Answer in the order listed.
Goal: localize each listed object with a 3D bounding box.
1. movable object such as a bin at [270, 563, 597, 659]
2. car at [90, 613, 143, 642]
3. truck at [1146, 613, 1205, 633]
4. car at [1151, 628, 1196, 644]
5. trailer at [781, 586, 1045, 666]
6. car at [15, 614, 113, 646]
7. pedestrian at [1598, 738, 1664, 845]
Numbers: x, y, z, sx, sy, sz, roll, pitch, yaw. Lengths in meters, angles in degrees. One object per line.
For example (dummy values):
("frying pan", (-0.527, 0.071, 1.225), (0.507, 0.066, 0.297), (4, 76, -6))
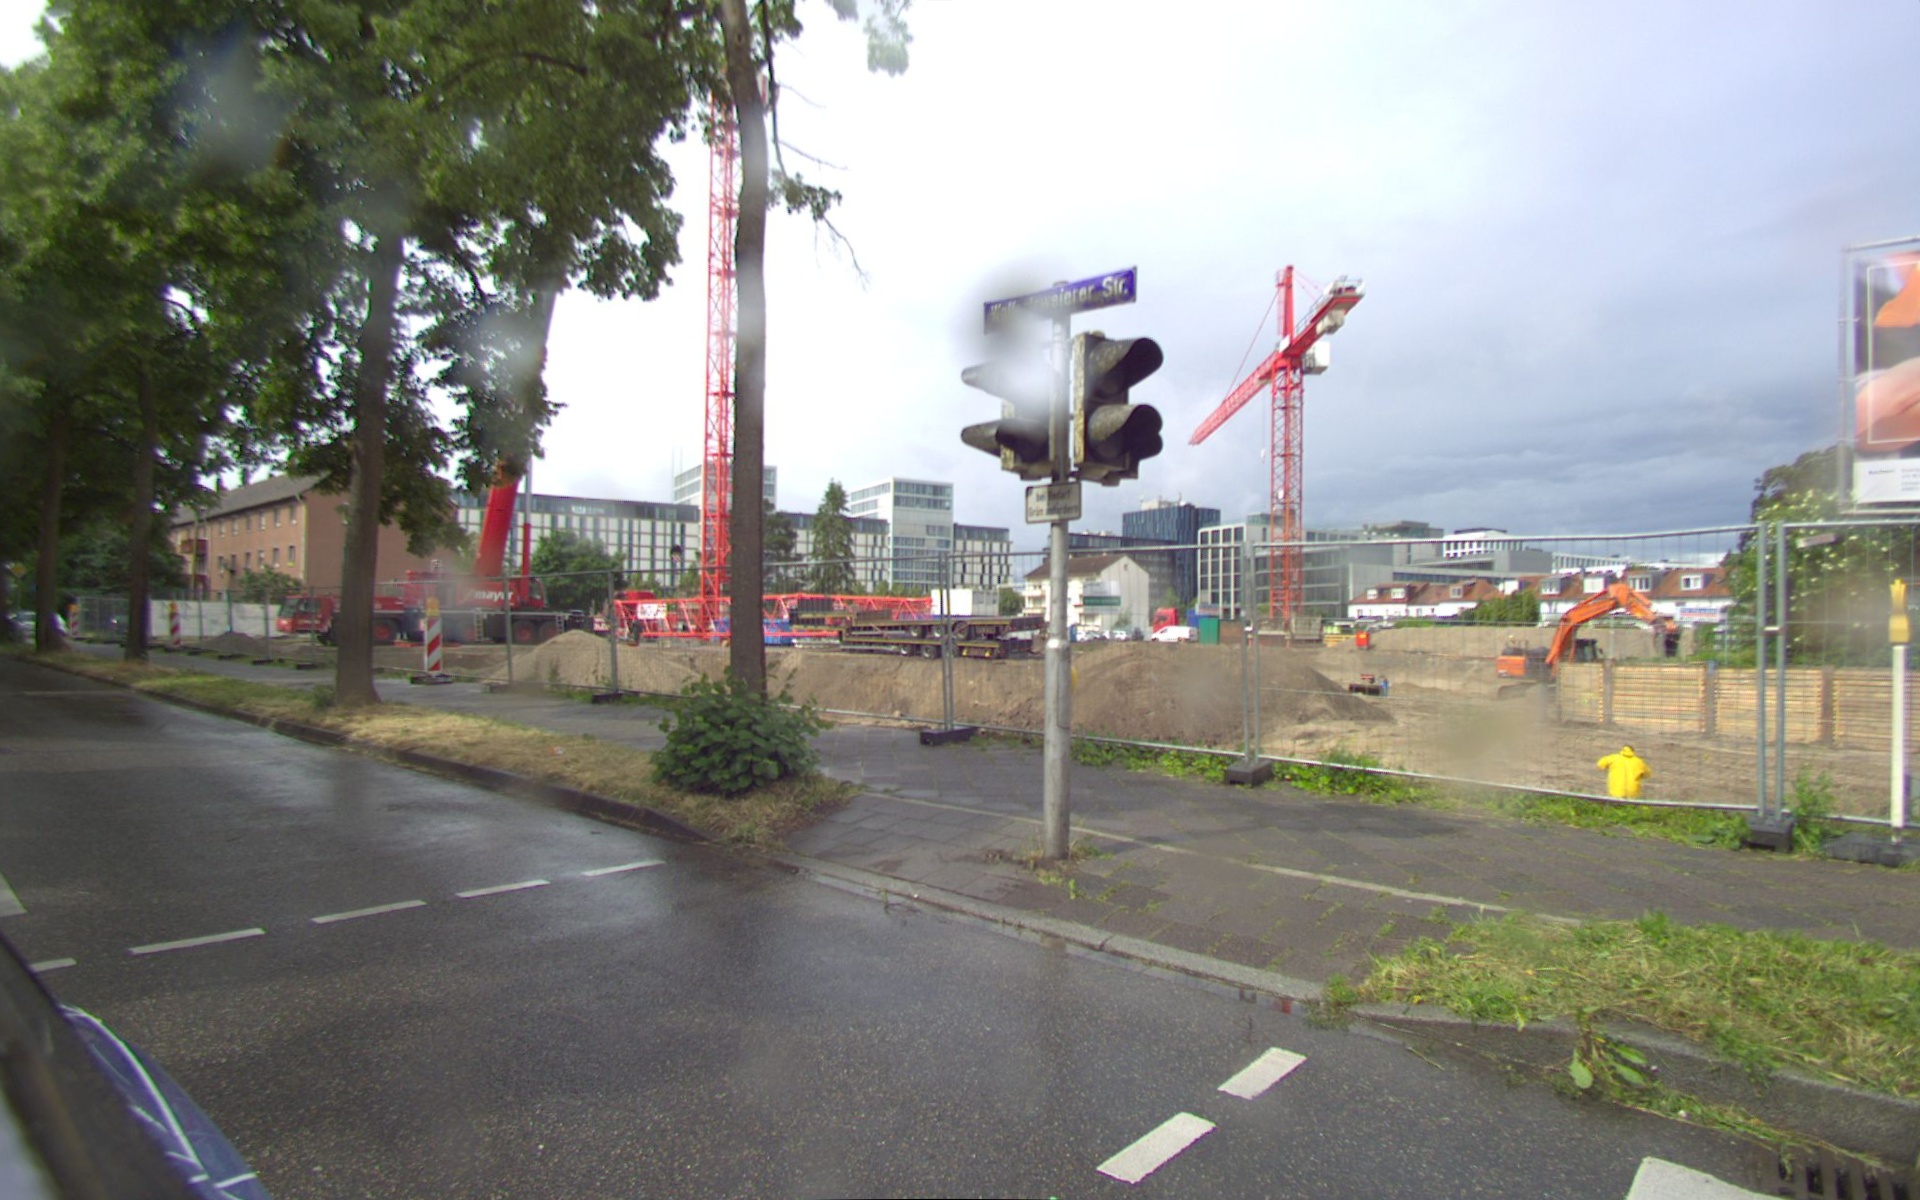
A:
("movable object such as a bin", (-28.026, 0.511, 55.326), (3.102, 4.592, 15.729), (0, 0, 44))
("car", (-49.491, 1.577, 59.354), (3.995, 1.541, 1.672), (0, 0, 39))
("truck", (24.363, 2.589, 114.343), (6.291, 2.095, 1.884), (0, 0, 24))
("car", (23.020, 3.888, 109.157), (4.582, 1.529, 1.797), (0, 0, 44))
("trailer", (-2.671, 1.055, 47.960), (14.300, 3.257, 2.930), (0, 2, 40))
("car", (-47.515, 1.546, 53.696), (3.815, 1.563, 1.699), (0, 0, -45))
("pedestrian", (11.655, 3.298, 17.583), (0.580, 1.698, 0.849), (6, -5, -44))
